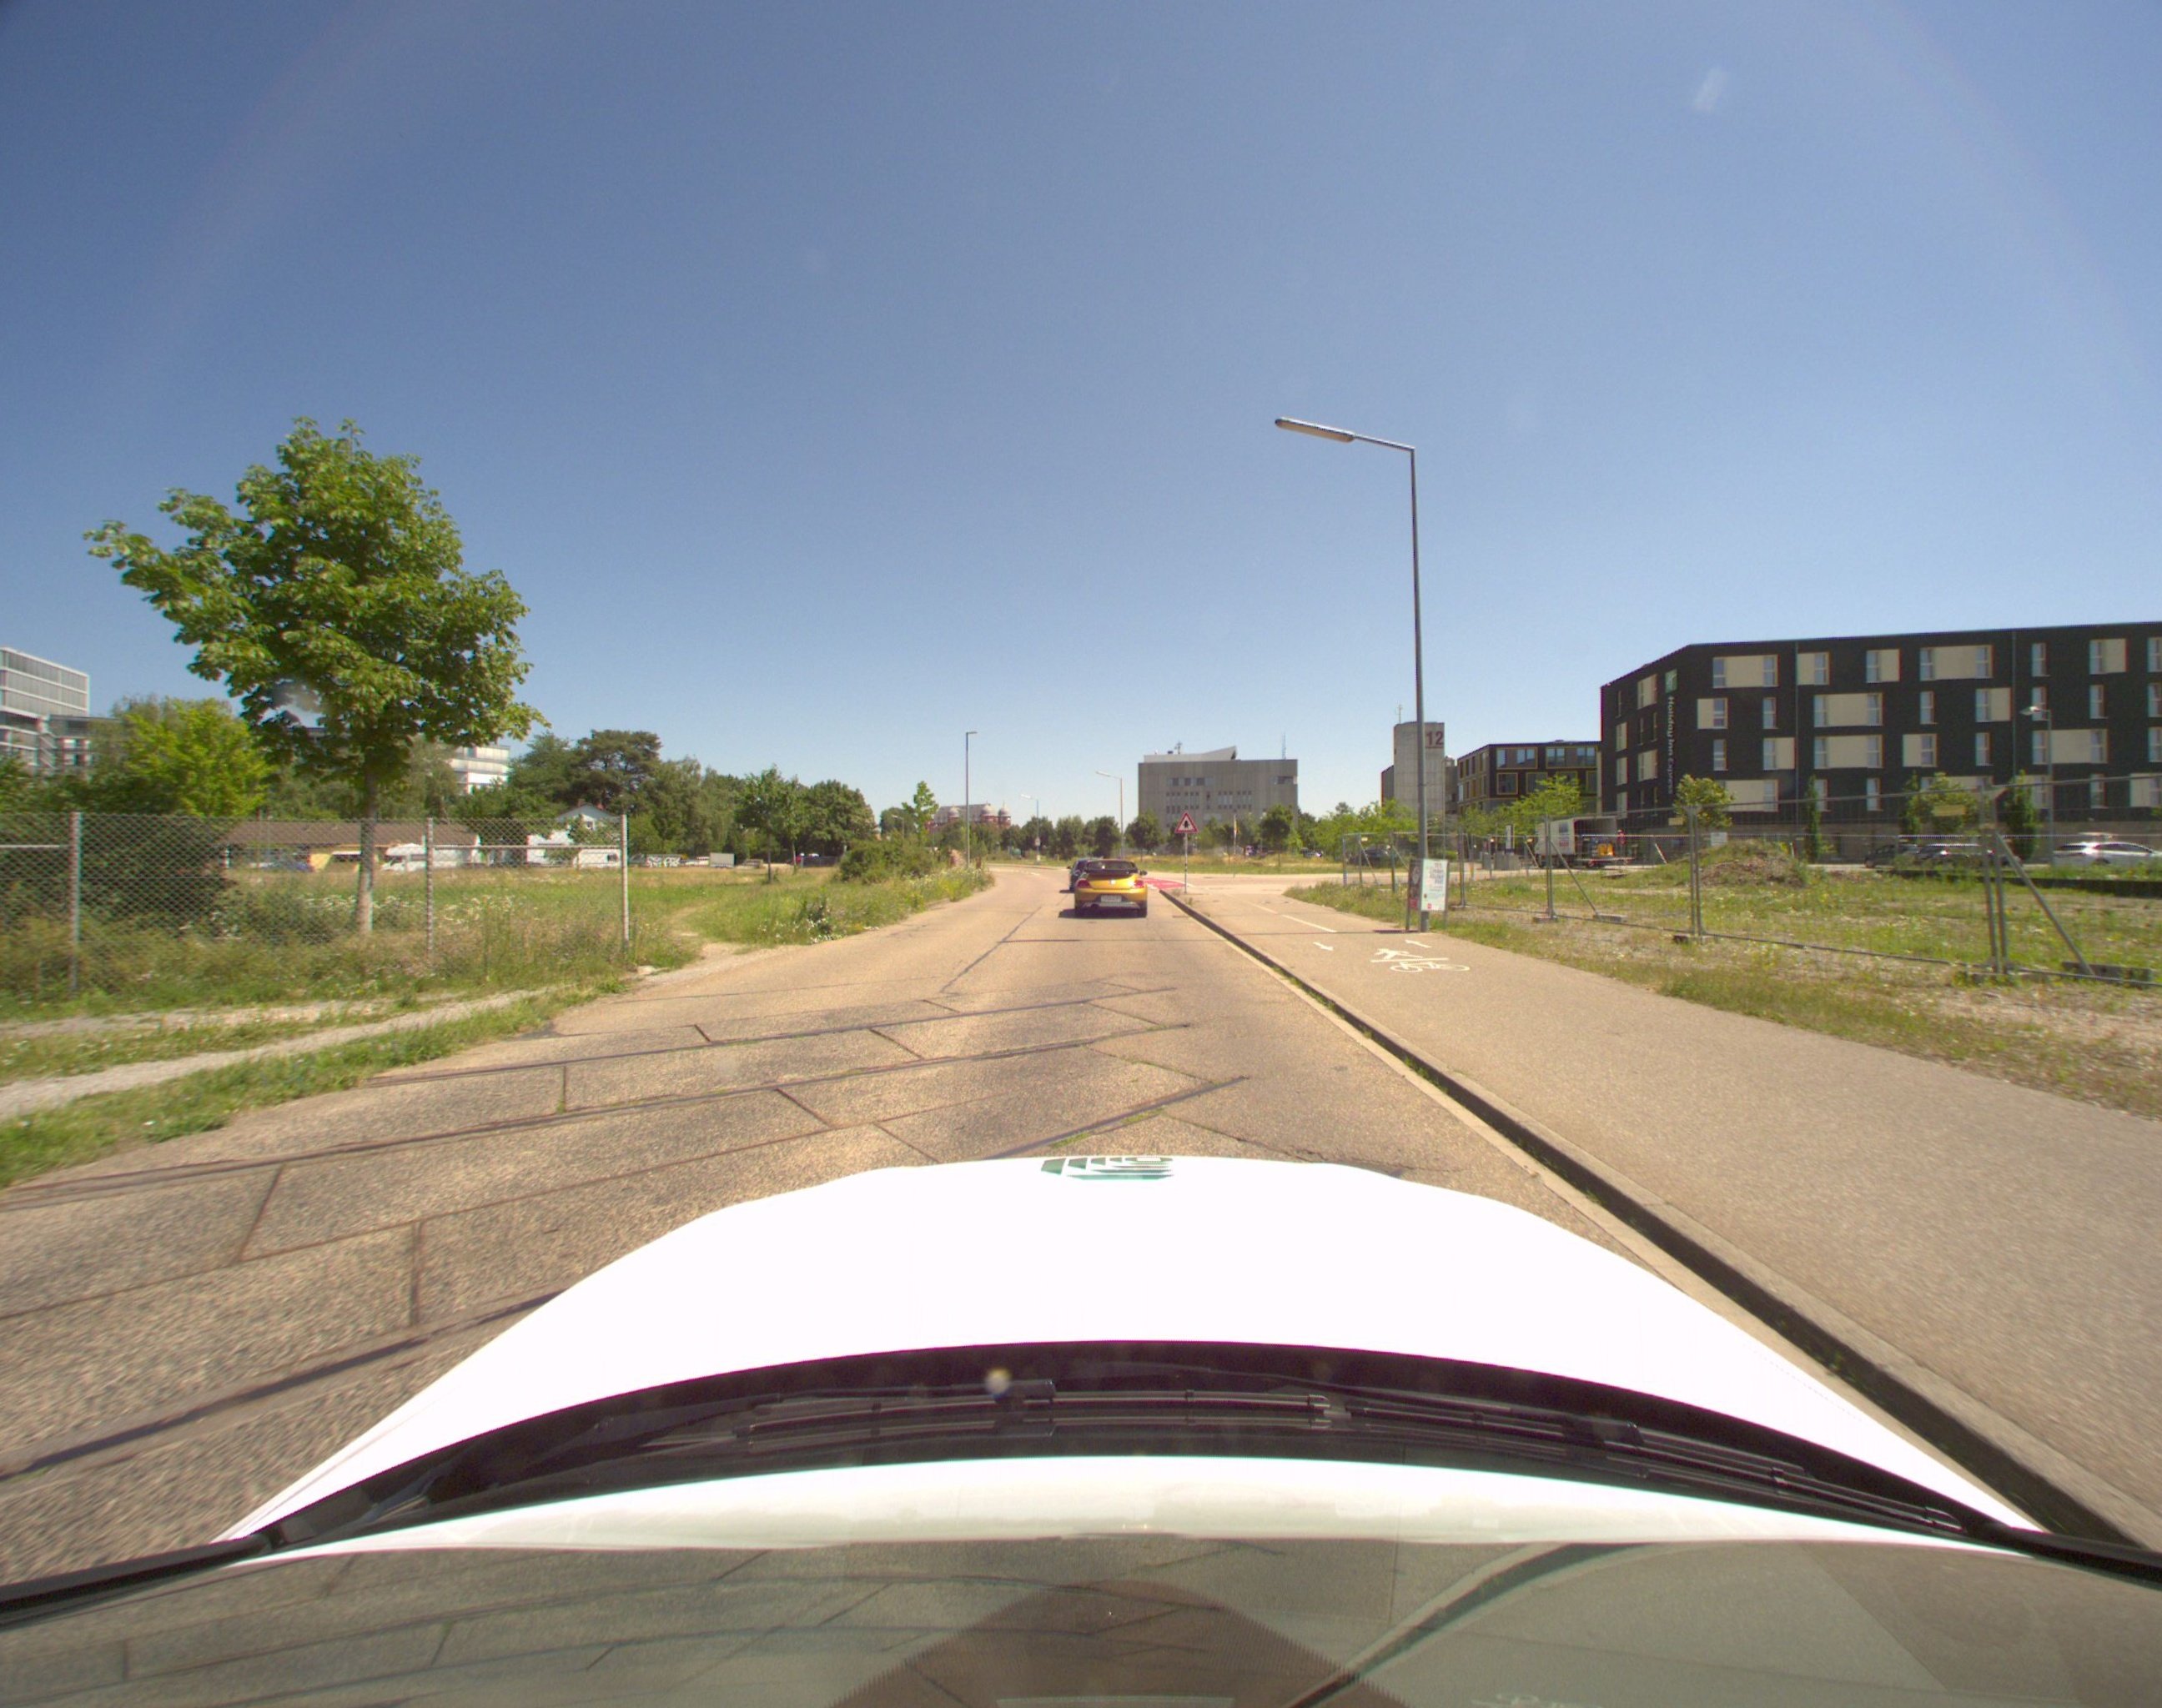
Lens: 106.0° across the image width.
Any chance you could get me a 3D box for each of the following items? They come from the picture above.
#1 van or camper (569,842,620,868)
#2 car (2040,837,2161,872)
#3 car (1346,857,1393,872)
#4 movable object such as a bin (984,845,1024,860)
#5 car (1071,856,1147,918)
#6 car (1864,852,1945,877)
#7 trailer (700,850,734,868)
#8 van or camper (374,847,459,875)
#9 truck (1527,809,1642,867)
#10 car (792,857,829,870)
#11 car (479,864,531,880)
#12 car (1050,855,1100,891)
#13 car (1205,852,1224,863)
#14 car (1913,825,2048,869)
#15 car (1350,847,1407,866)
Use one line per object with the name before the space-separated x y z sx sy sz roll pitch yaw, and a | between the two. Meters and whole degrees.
van or camper | -51.164 0.150 85.755 4.478 2.591 2.469 2 -2 -29
car | 47.675 0.032 37.728 4.004 1.557 1.755 0 0 12
car | 28.815 1.015 81.466 4.092 1.444 1.965 0 -1 5
movable object such as a bin | -17.770 -0.269 186.445 4.972 3.260 10.363 1 -1 -32
car | 0.736 0.768 20.911 1.783 1.436 3.816 0 0 2
car | 48.755 0.609 48.312 1.679 1.453 3.592 0 0 11
trailer | -41.082 0.576 91.918 3.434 2.045 1.744 0 -1 -29
van or camper | -63.844 0.646 78.406 5.987 2.593 2.448 0 -1 -30
truck | 34.197 -0.906 56.021 2.987 3.462 12.183 -2 -1 13
car | -37.789 1.276 113.927 4.842 1.840 1.985 0 0 -22
car | -57.987 1.773 82.024 4.008 1.552 1.898 0 -1 -27
car | -0.186 0.760 34.537 1.718 1.443 4.006 0 0 6
car | 28.008 0.672 170.770 3.816 2.294 1.748 0 -1 12
car | 42.380 -0.317 38.491 3.874 2.013 1.888 -1 0 15
car | 26.249 0.231 72.022 4.465 1.562 2.038 -1 0 10
